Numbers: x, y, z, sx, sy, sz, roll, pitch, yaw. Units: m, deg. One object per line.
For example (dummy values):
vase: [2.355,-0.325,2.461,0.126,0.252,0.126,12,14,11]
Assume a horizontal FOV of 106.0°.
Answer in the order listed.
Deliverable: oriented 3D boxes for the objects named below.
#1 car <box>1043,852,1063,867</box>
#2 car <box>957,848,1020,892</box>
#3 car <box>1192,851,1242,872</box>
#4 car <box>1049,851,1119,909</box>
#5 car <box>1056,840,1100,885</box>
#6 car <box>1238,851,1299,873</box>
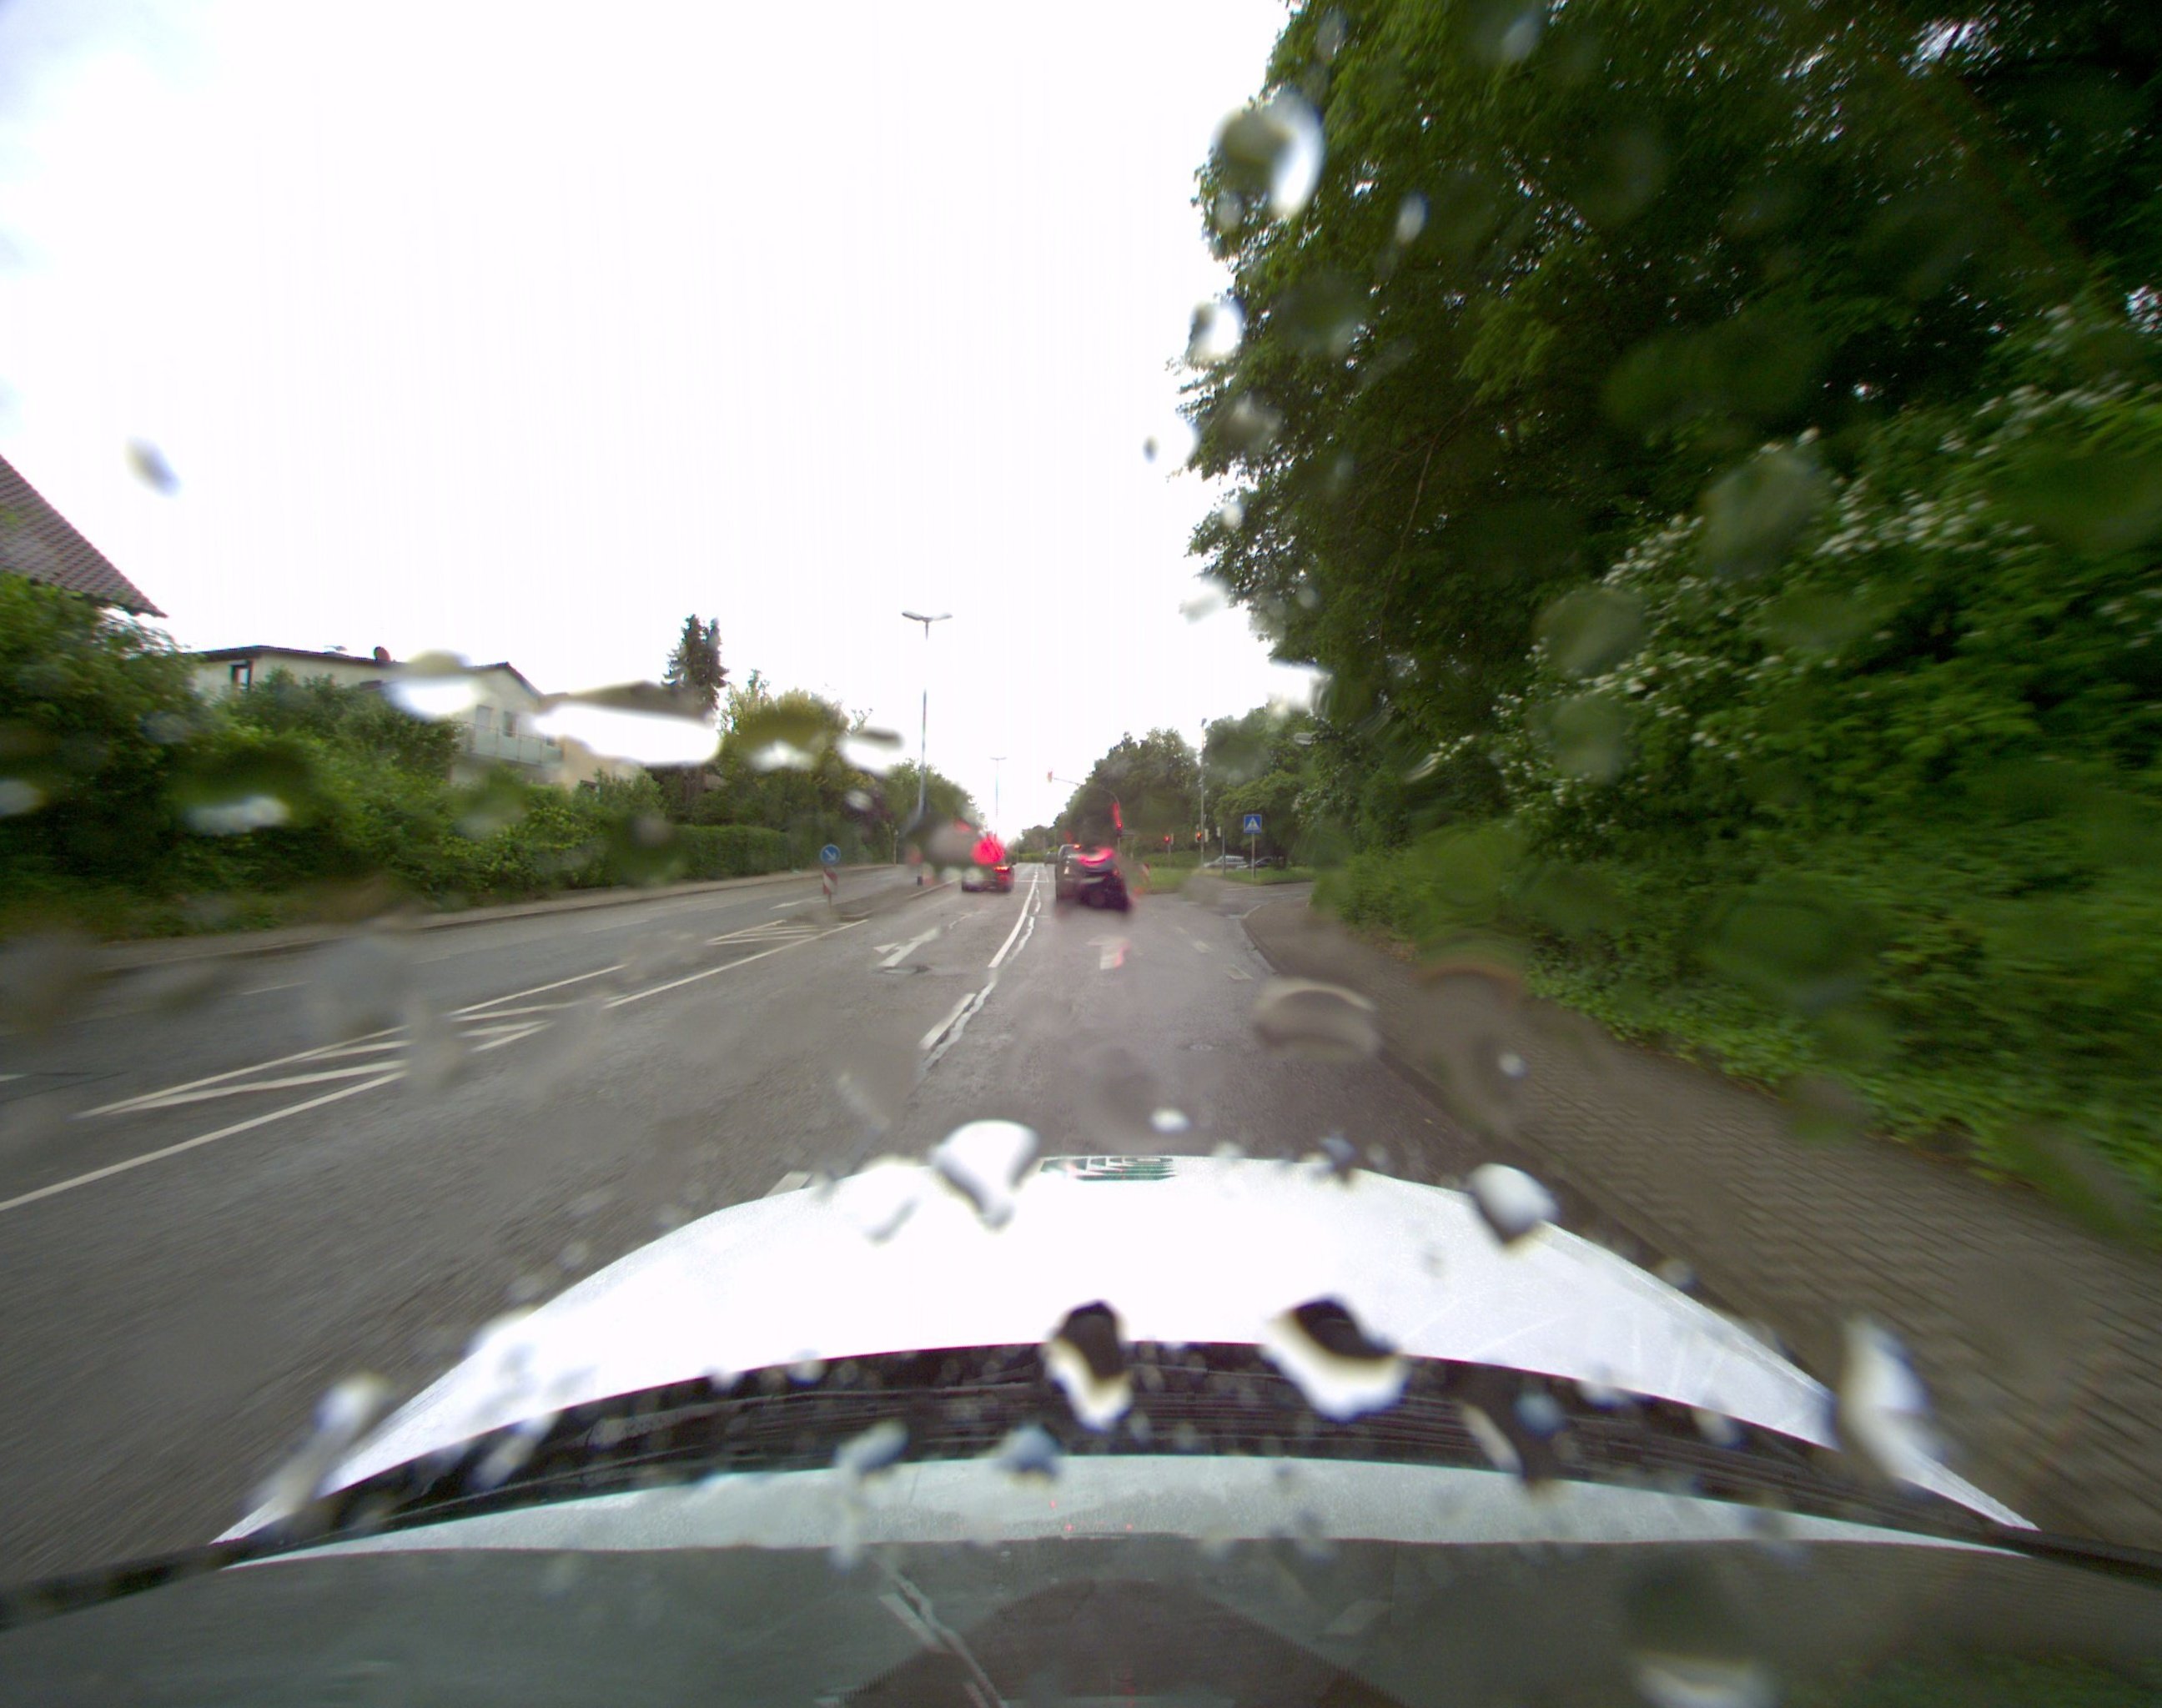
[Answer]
car: [-3.156,0.621,90.965,1.991,1.624,3.944,-1,0,-6]
car: [-3.476,0.577,31.433,1.988,1.527,4.325,-1,0,-1]
car: [10.516,0.585,63.177,3.497,1.427,1.700,-2,-1,-5]
car: [0.165,0.739,24.680,1.891,1.551,4.616,2,-1,2]
car: [-0.182,0.381,36.469,1.813,1.868,3.950,2,0,-1]
car: [13.795,0.577,60.088,3.981,1.509,1.898,-1,0,-6]
